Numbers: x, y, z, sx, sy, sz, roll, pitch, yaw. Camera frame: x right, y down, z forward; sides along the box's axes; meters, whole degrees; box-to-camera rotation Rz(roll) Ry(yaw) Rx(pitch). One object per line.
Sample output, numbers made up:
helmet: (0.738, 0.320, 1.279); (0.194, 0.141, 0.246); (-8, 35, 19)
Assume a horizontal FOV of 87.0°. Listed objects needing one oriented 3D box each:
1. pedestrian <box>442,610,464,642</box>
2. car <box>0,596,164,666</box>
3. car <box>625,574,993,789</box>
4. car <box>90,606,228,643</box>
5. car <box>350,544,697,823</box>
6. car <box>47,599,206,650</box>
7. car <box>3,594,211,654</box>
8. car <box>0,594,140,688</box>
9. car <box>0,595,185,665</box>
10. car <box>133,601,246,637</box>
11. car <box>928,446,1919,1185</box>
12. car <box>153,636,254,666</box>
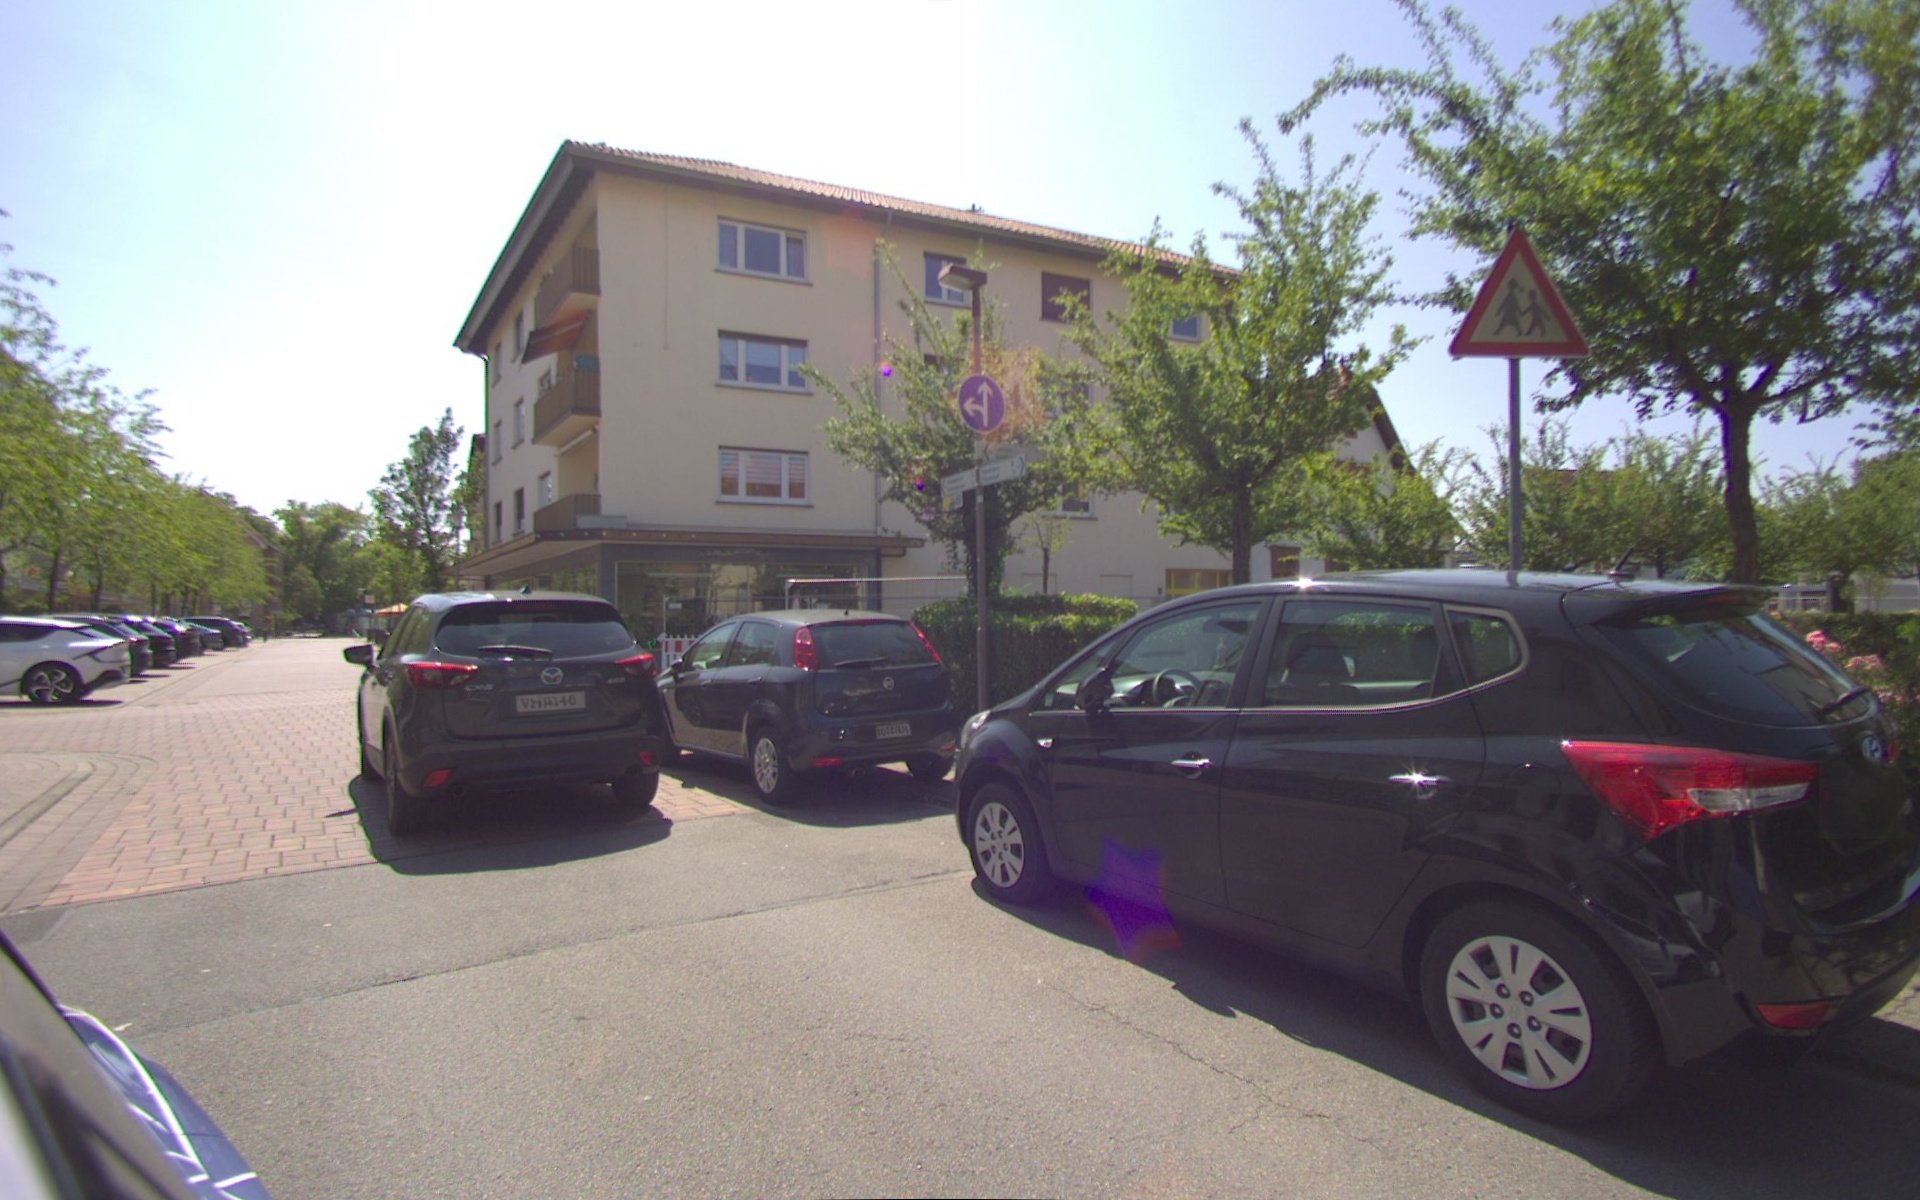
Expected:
pedestrian: (-29.066, 1.485, 57.975); (0.751, 1.794, 0.868); (-1, -1, 8)
car: (-21.373, 0.732, 23.855); (3.890, 1.545, 1.829); (3, -3, -33)
car: (-1.560, 0.623, 9.155); (1.680, 1.508, 3.865); (1, -2, -37)
car: (-34.510, 1.087, 43.677); (1.888, 1.474, 4.329); (-1, -3, 39)
car: (-3.799, 0.559, 8.340); (1.856, 1.681, 4.164); (0, -2, -34)
car: (-28.328, 0.868, 34.582); (3.972, 1.624, 1.686); (3, -3, -34)
car: (-25.570, 0.760, 30.574); (4.445, 1.600, 1.856); (3, -3, -30)
car: (-17.264, 0.698, 17.641); (4.379, 1.588, 1.794); (2, -3, -32)
car: (-22.834, 0.793, 26.225); (4.221, 1.694, 2.006); (2, -2, -35)
car: (-37.235, 0.938, 49.029); (4.186, 1.630, 1.761); (2, -3, -33)
car: (1.653, 0.522, 4.417); (1.790, 1.617, 4.036); (0, -2, -32)
car: (-43.687, 2.930, 58.557); (4.512, 1.555, 1.812); (0, -2, -32)
